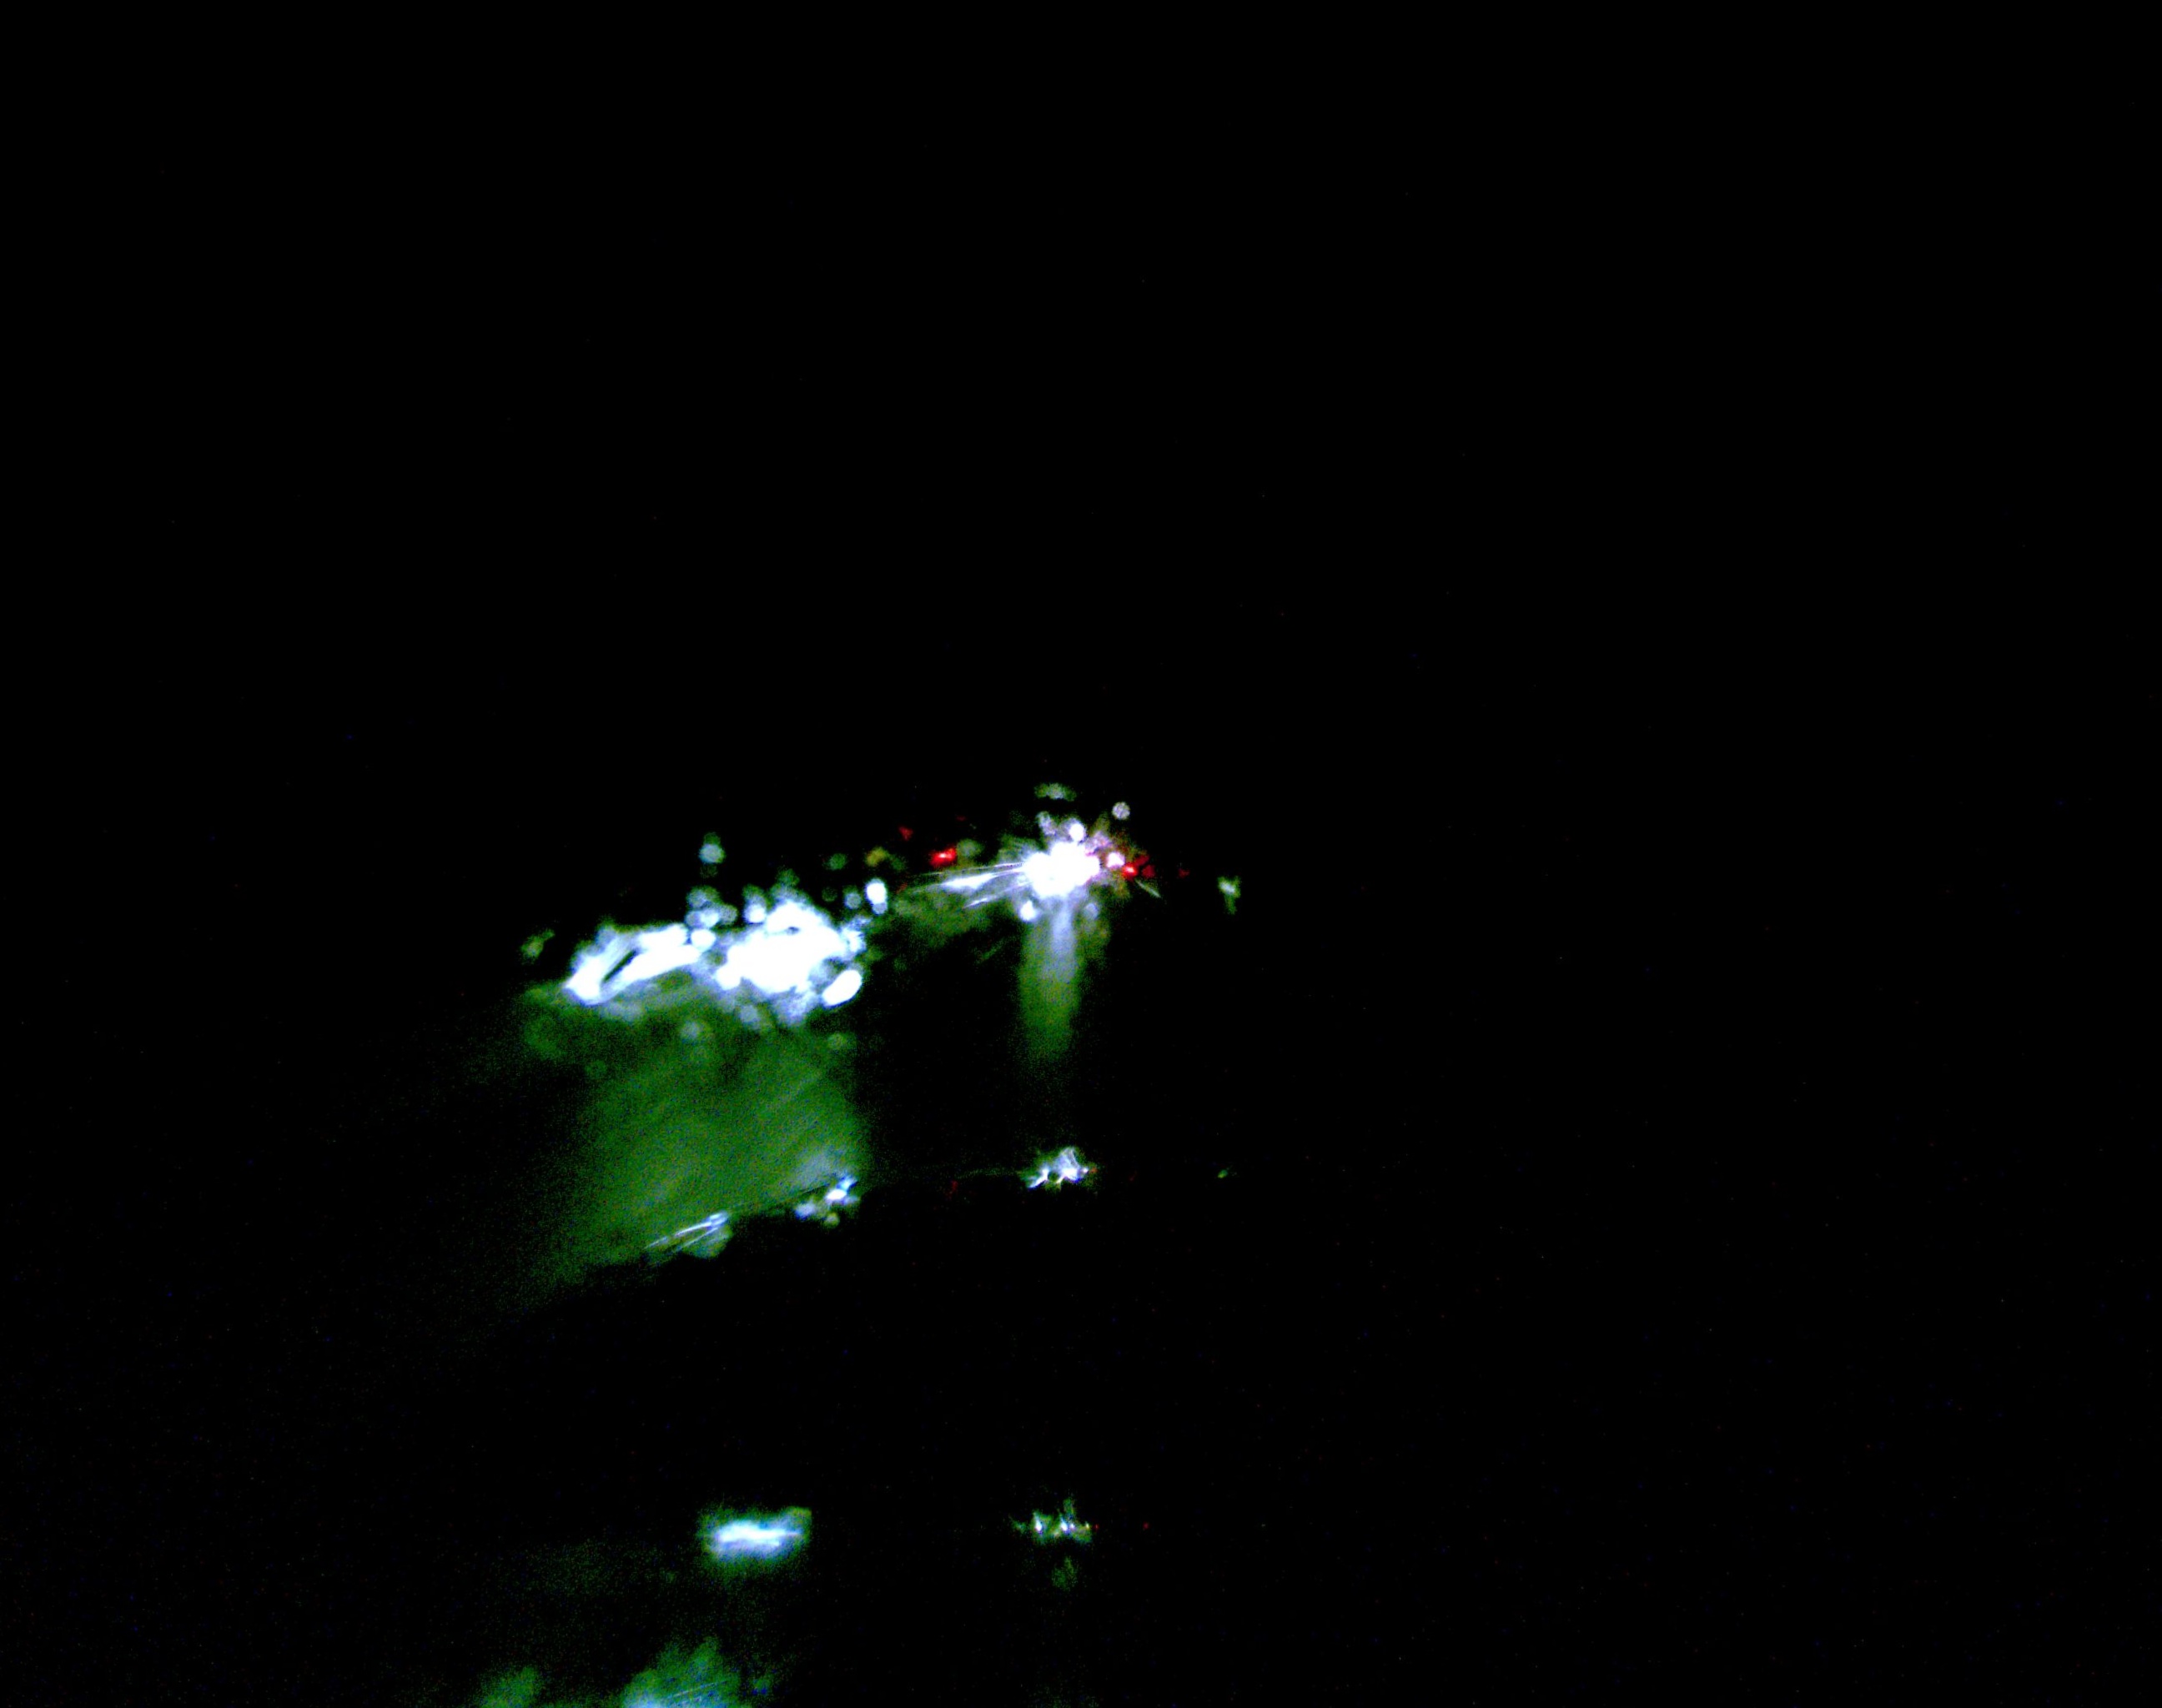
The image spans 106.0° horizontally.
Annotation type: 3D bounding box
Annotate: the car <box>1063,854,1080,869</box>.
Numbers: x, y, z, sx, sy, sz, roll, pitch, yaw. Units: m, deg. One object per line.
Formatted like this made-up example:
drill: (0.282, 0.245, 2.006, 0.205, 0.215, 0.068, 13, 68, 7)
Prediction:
car: (-1.103, 0.868, 94.185, 1.759, 1.519, 4.491, -4, 0, 1)

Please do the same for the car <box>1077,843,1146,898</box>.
car: (1.213, 0.582, 31.404, 2.448, 1.958, 4.915, 0, 0, 3)

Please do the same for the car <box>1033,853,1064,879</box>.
car: (-2.192, 0.778, 55.750, 1.798, 1.627, 4.407, -3, 0, 1)
